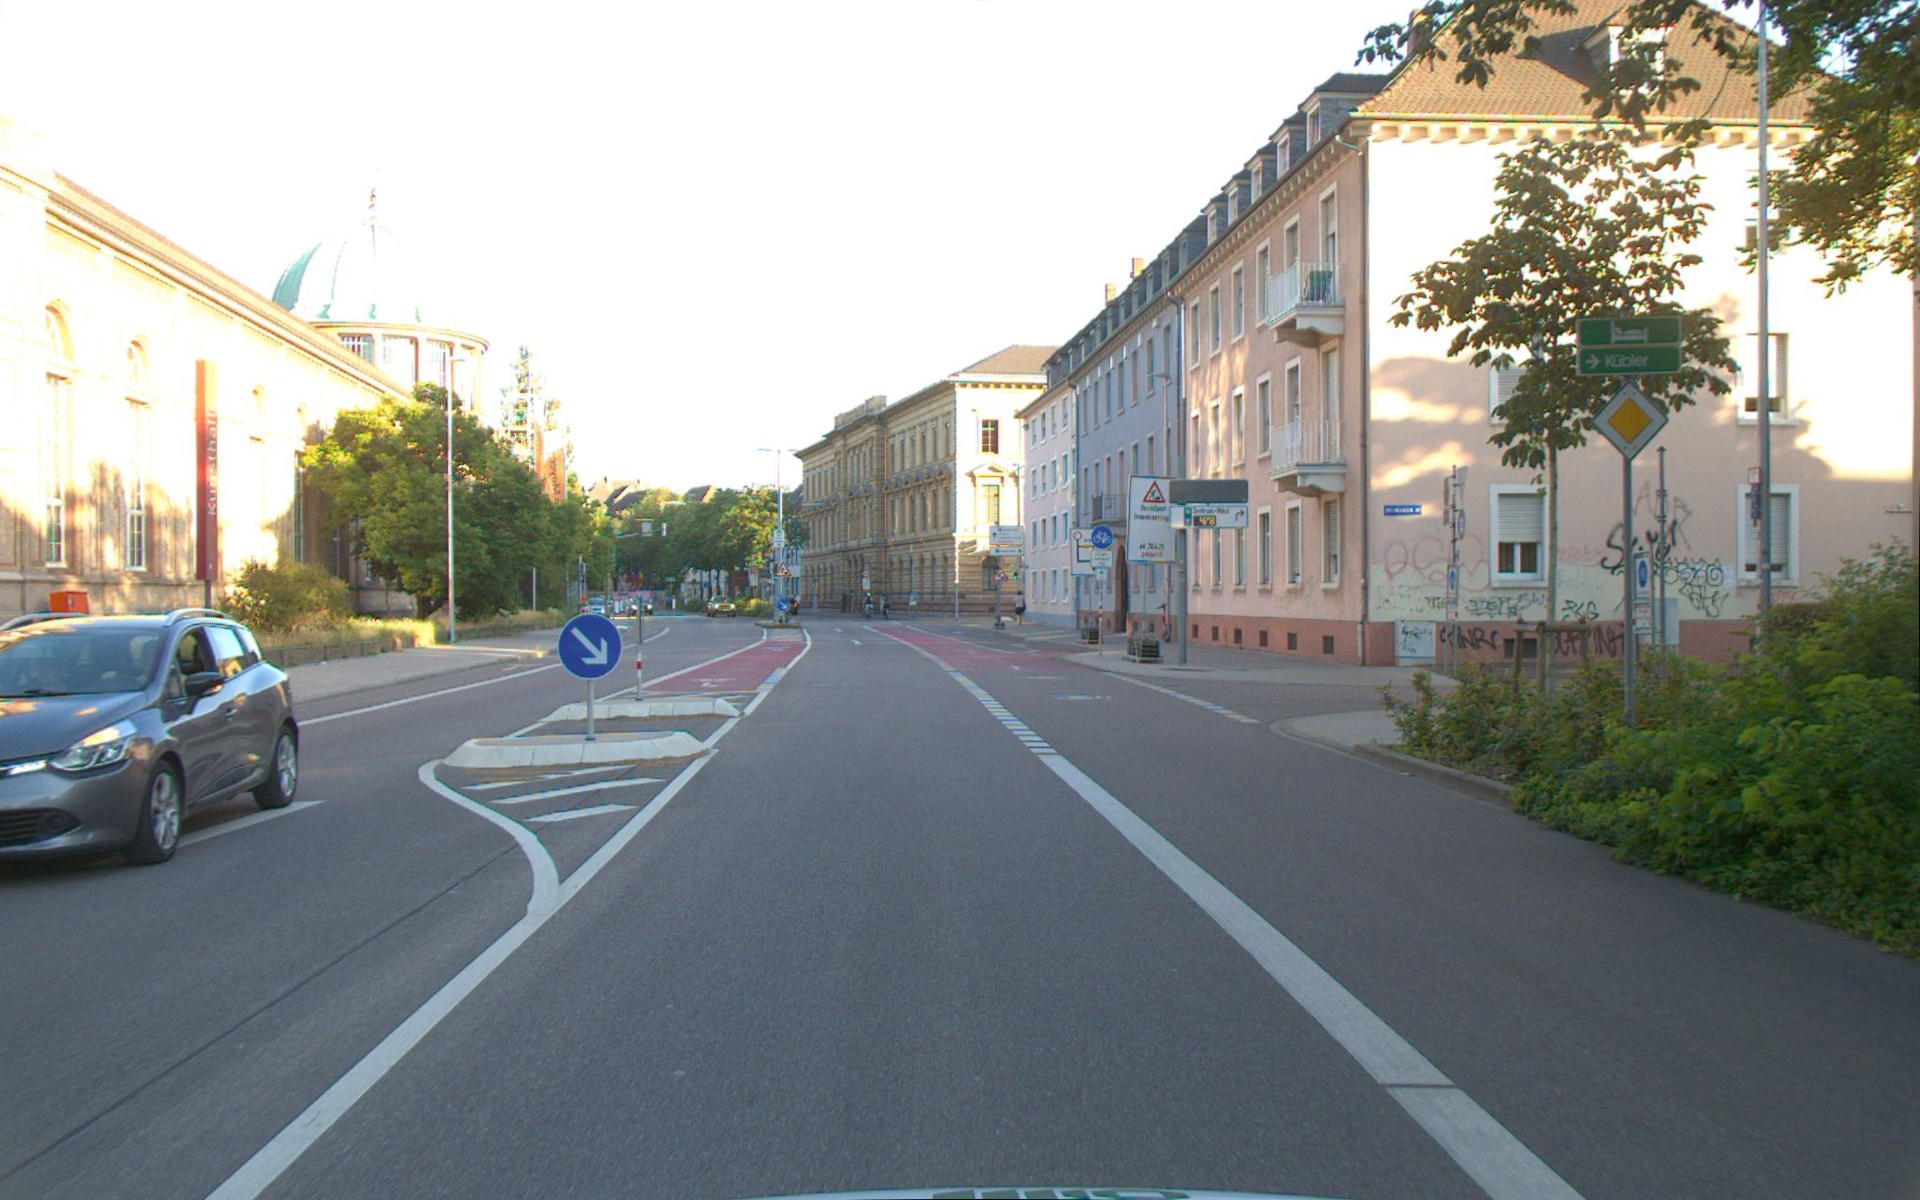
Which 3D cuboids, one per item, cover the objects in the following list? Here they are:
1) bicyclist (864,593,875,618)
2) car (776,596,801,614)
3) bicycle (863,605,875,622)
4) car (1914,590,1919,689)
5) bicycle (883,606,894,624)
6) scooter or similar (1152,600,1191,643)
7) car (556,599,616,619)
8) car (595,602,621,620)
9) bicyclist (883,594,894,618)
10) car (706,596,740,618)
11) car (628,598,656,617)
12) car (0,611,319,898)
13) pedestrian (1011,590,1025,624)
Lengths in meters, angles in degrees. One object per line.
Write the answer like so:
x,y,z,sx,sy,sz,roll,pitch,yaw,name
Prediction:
-5.595,0.338,102.519,0.639,1.471,0.879,2,0,-2,bicyclist
-14.363,0.412,138.469,1.833,1.536,3.991,1,0,-9,car
-5.612,0.834,102.328,0.639,1.033,2.197,2,0,-2,bicycle
16.707,0.531,24.385,4.154,1.507,1.871,-2,0,1,car
-4.432,0.908,102.395,0.639,1.033,2.197,2,0,-2,bicycle
6.828,0.672,53.481,0.617,1.360,2.396,0,0,-8,scooter or similar
-27.011,0.636,119.476,3.911,1.445,1.997,0,0,29,car
-32.725,1.045,153.713,1.963,1.613,3.979,0,0,-18,car
-4.418,0.370,102.398,0.639,1.501,0.940,2,0,-2,bicyclist
-17.436,0.516,121.569,1.961,1.613,3.984,0,0,-15,car
-27.761,0.641,144.297,1.963,1.613,3.979,0,0,-19,car
-5.580,0.850,10.716,1.801,1.464,3.992,-2,0,-9,car
3.076,0.389,87.706,0.746,1.785,0.845,0,0,3,pedestrian
